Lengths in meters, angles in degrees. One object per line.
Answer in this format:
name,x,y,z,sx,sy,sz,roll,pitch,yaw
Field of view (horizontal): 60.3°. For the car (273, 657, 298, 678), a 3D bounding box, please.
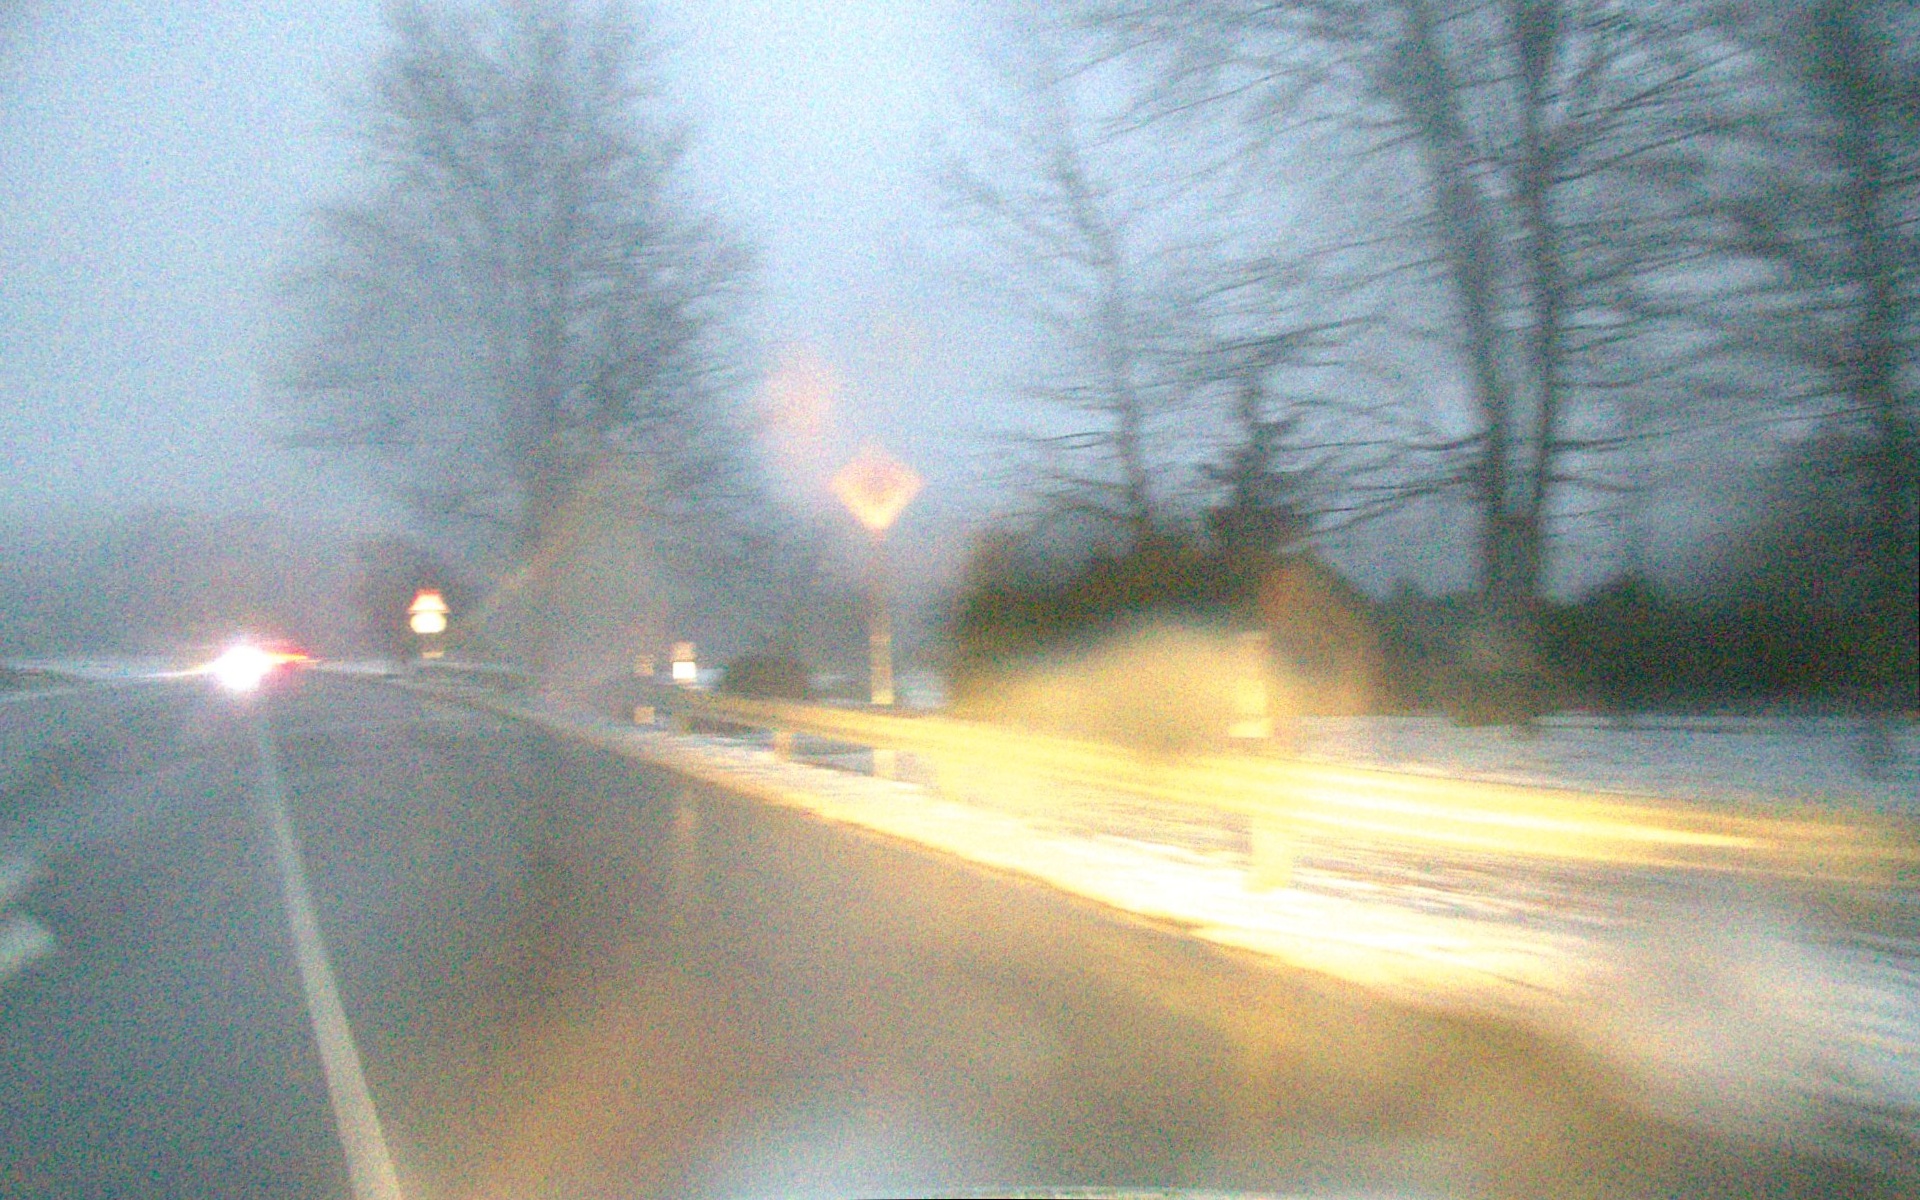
car,-53.090,5.289,130.207,1.668,1.579,3.831,1,-1,-21
